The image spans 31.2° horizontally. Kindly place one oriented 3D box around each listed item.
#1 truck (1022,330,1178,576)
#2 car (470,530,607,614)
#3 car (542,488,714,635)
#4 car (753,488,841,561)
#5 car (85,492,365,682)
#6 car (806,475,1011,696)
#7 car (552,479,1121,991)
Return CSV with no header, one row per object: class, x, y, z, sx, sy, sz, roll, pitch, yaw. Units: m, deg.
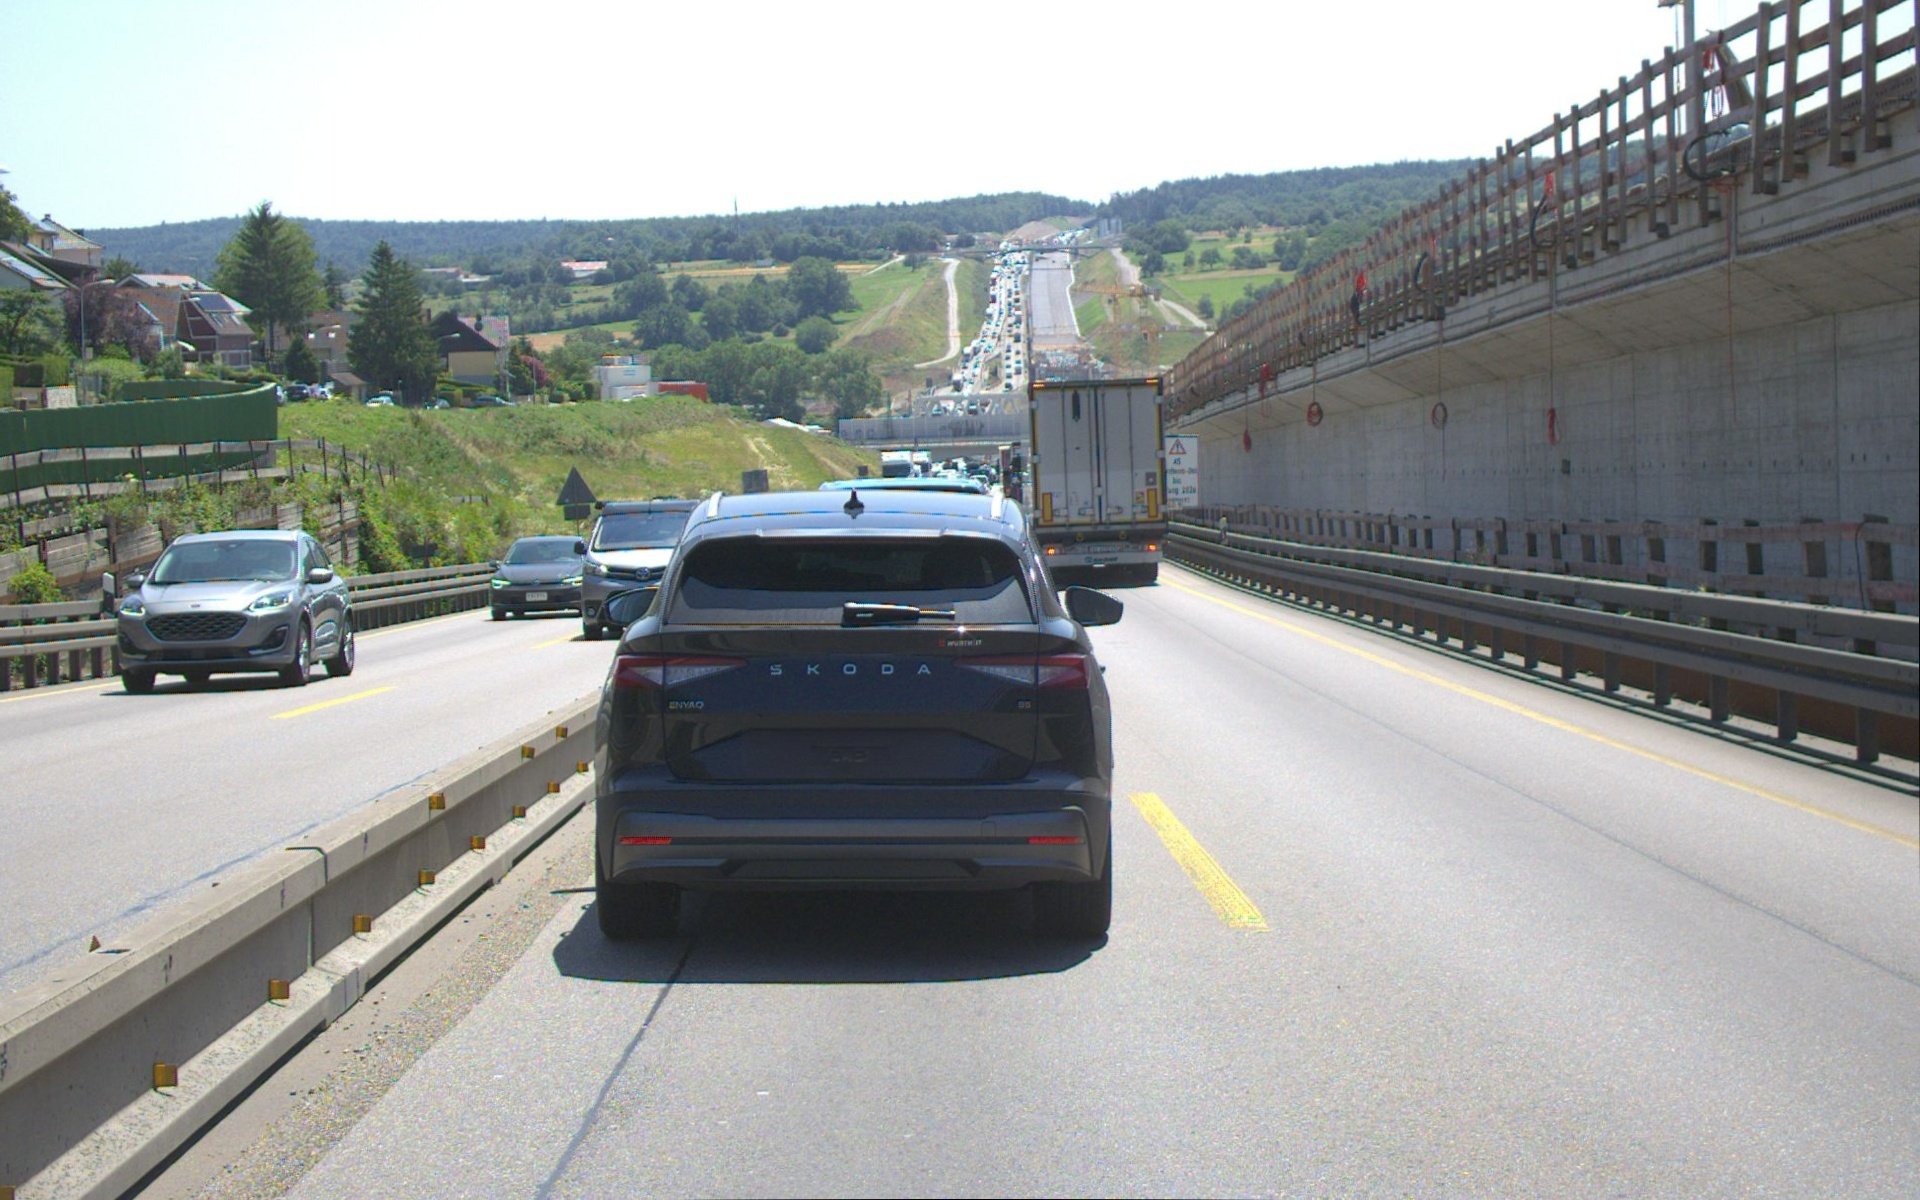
truck,2.777,-2.896,71.497,2.846,4.599,11.811,-2,1,1
car,-7.615,-0.518,62.435,1.993,1.437,4.364,1,1,-1
car,-4.815,-0.581,50.554,1.993,2.007,4.969,-2,1,0
car,-4.390,-2.027,93.449,2.157,1.899,5.326,-1,1,0
car,-7.668,-0.169,36.295,1.993,1.821,4.509,-2,1,-1
car,-0.497,-0.173,31.377,1.749,1.888,3.756,0,1,-2
car,-0.418,0.393,13.063,1.782,1.592,3.755,-3,1,0
